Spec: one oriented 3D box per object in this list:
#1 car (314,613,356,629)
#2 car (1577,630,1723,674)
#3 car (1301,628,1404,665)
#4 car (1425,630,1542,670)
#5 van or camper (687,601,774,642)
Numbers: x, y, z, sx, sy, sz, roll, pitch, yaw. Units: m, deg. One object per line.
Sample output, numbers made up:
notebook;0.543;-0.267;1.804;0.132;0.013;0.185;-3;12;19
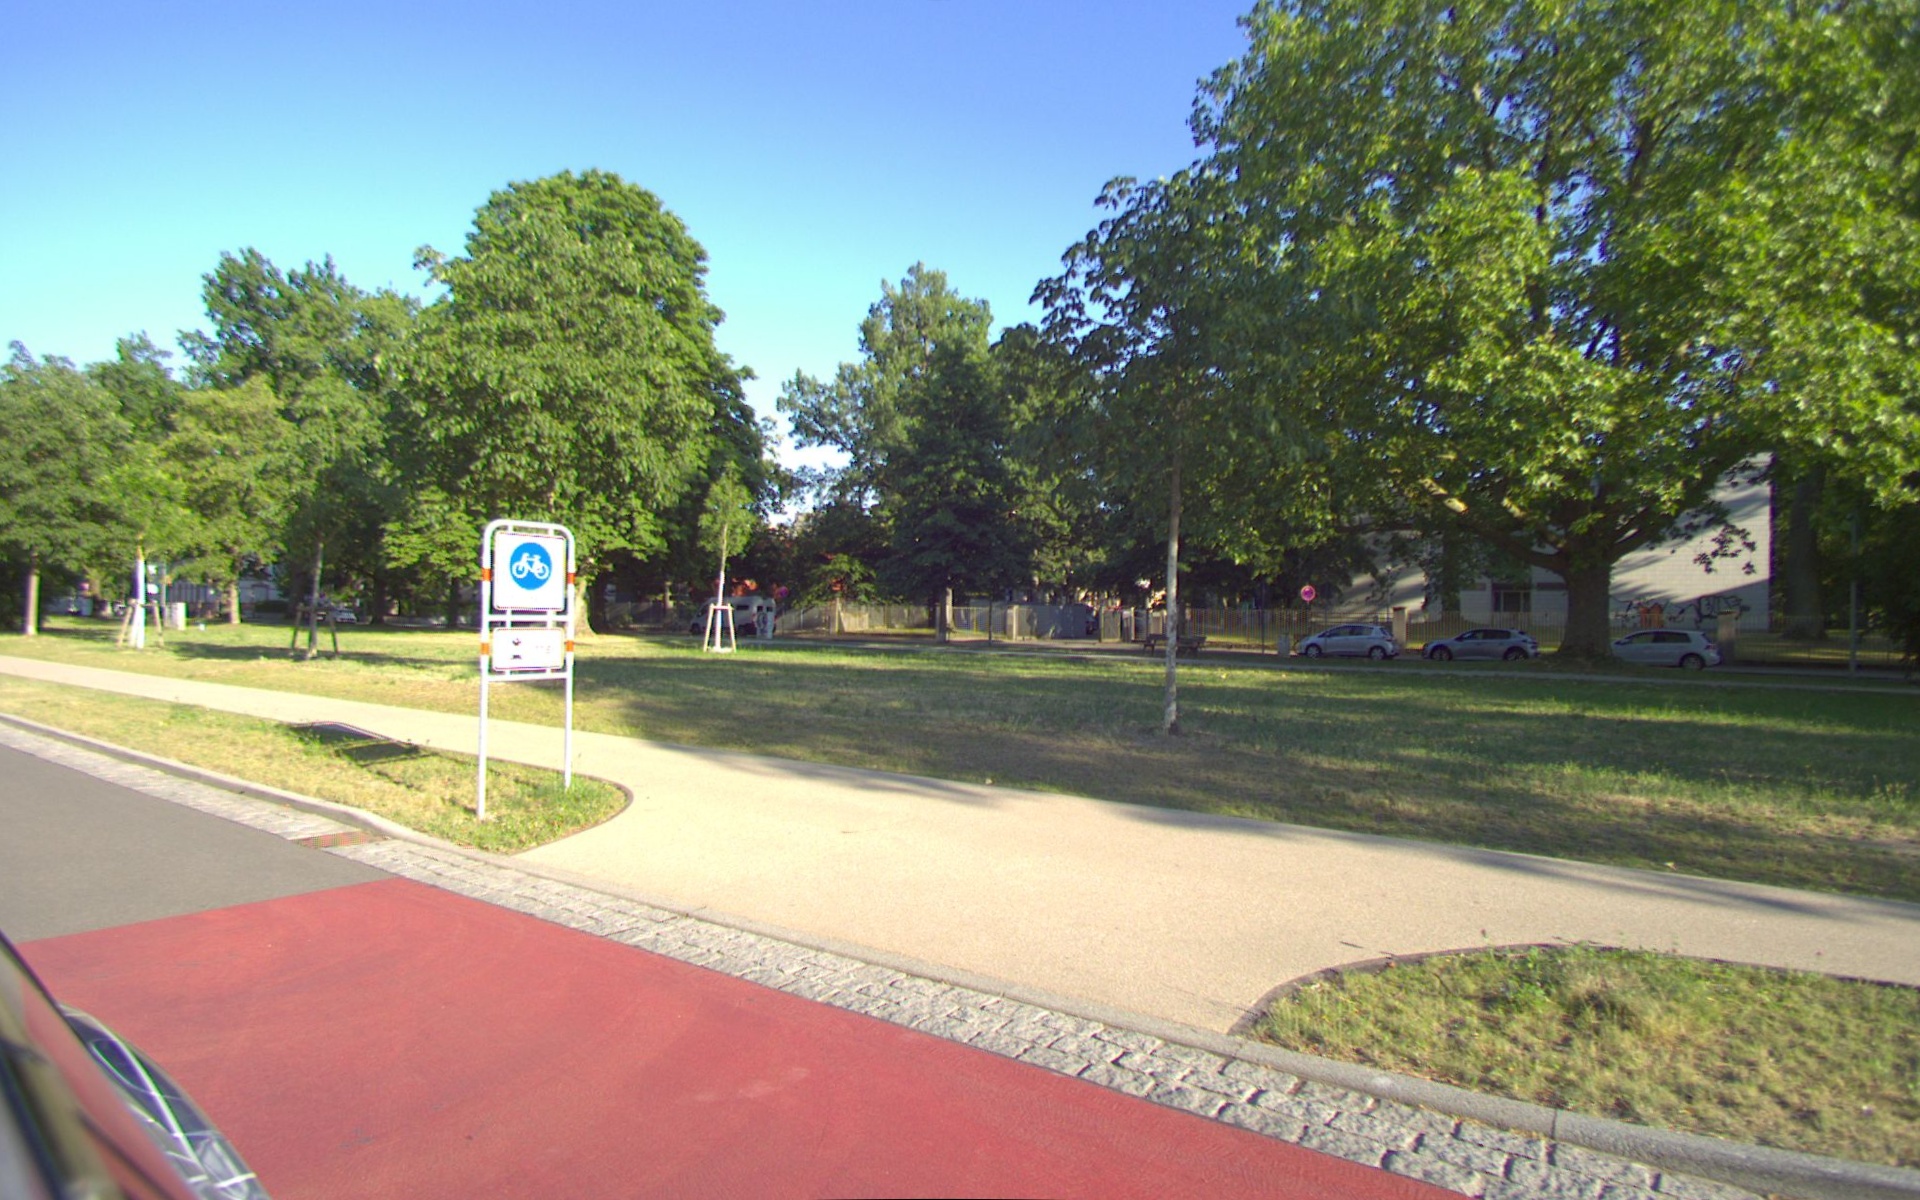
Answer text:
car;-57.615;1.908;93.258;3.990;1.475;1.777;0;-1;34
car;23.902;1.781;35.181;4.098;1.378;1.509;0;-1;35
car;15.917;1.853;41.101;3.640;1.378;1.509;0;-1;35
car;19.786;1.849;38.293;3.783;1.378;1.509;0;-1;35
van or camper;-14.164;1.311;62.395;5.451;2.458;1.977;0;-1;33
